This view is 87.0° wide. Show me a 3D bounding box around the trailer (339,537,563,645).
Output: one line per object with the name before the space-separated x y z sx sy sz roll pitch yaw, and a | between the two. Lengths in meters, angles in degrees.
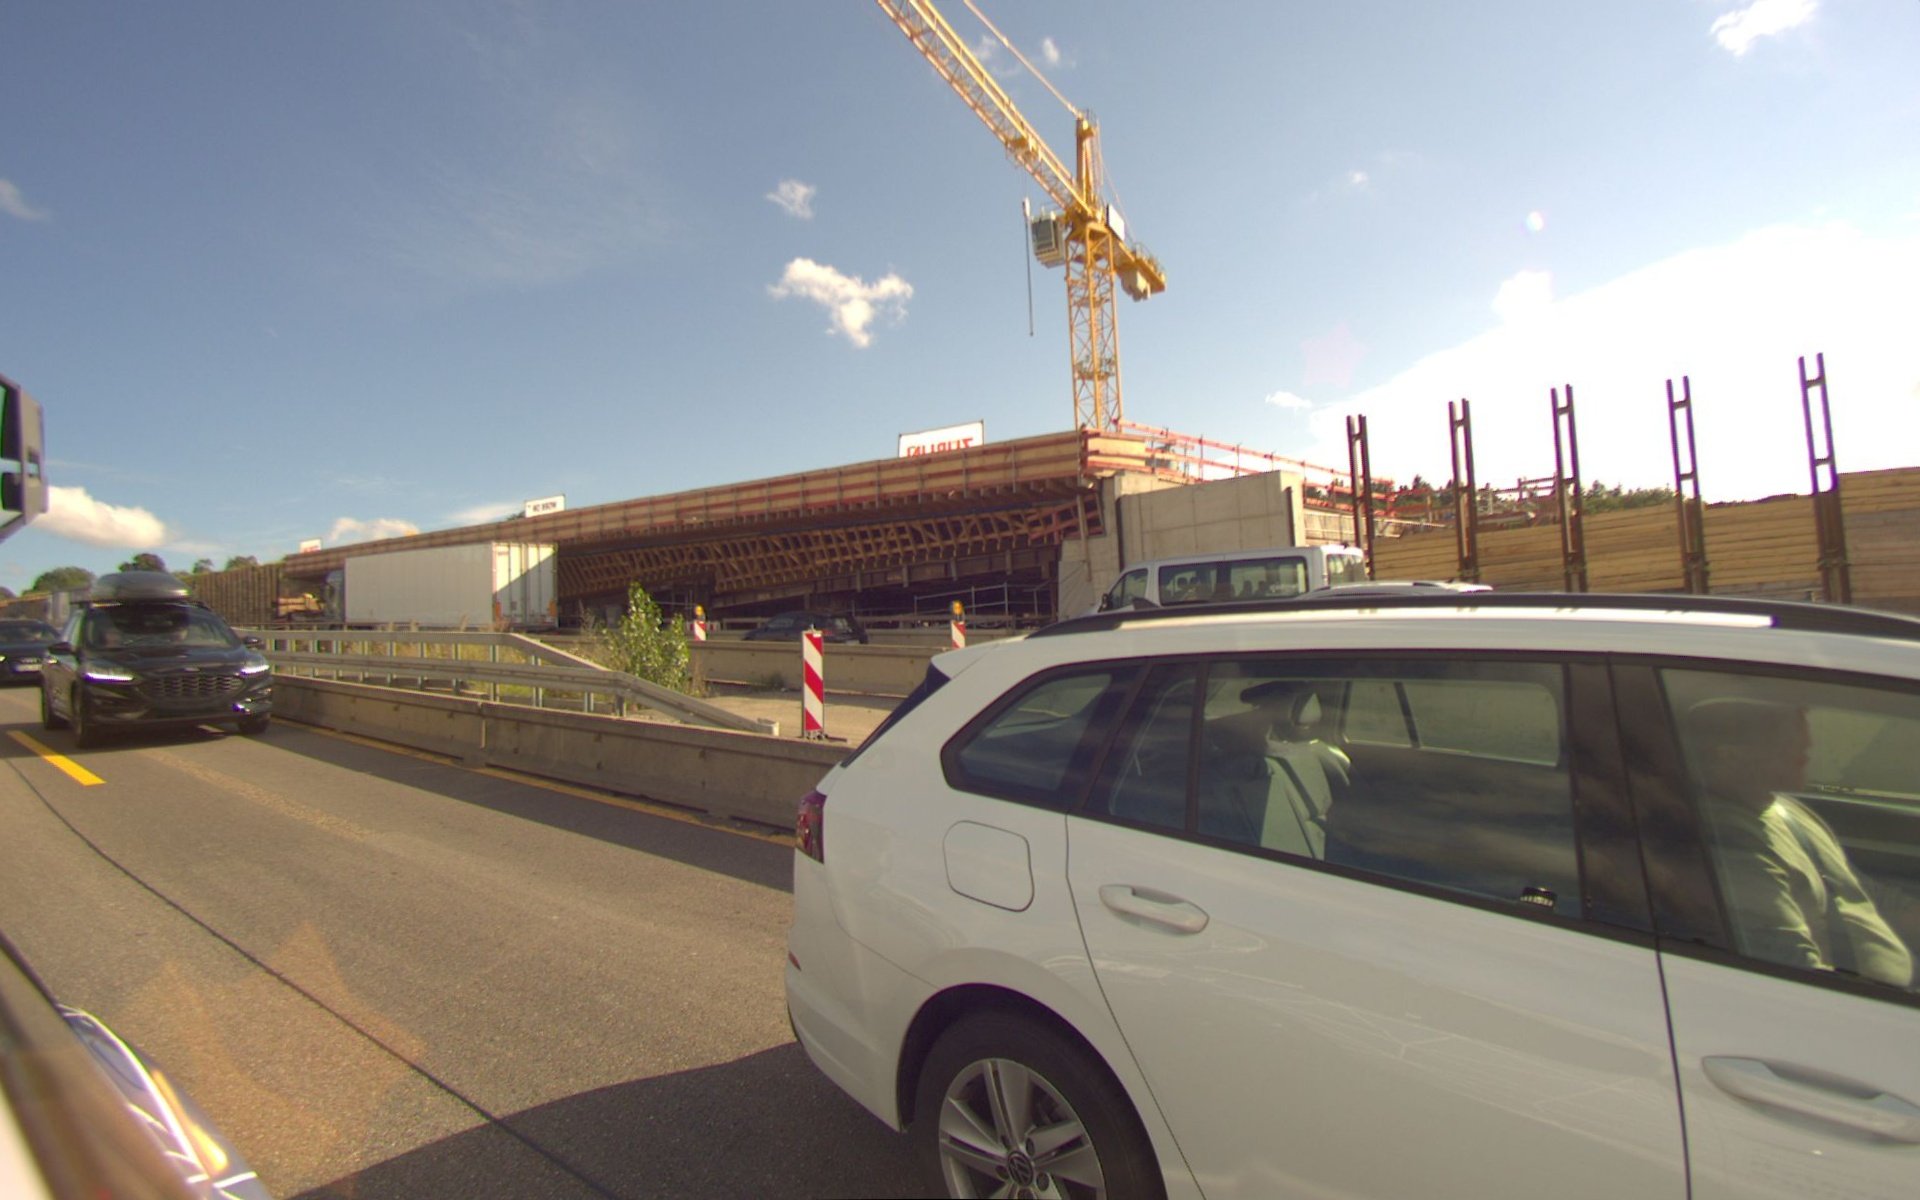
trailer | -21.434 -0.299 41.873 13.787 3.870 2.793 -1 0 39

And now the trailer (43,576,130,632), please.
trailer | -70.064 0.322 81.016 13.794 4.187 2.662 -1 0 38

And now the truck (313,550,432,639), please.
truck | -26.933 -0.221 46.280 6.012 3.817 2.749 -1 0 39

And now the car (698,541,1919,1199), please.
car | 1.605 0.701 1.760 4.514 1.502 1.751 -1 -2 41

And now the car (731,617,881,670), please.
car | -4.249 1.142 27.620 3.997 1.282 1.900 -1 0 40

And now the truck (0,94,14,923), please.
truck | -9.186 -0.381 7.165 10.313 3.876 2.629 -1 0 41

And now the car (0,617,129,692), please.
car | -20.674 1.173 23.253 4.506 1.441 1.922 0 1 44

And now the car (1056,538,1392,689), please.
car | 4.766 0.213 19.172 2.231 2.420 5.873 -1 0 -43

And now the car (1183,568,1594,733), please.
car | 5.235 0.531 12.790 2.100 1.686 4.277 -3 1 -42

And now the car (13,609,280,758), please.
car | -10.396 0.917 12.815 4.380 1.554 1.782 -1 -1 39
